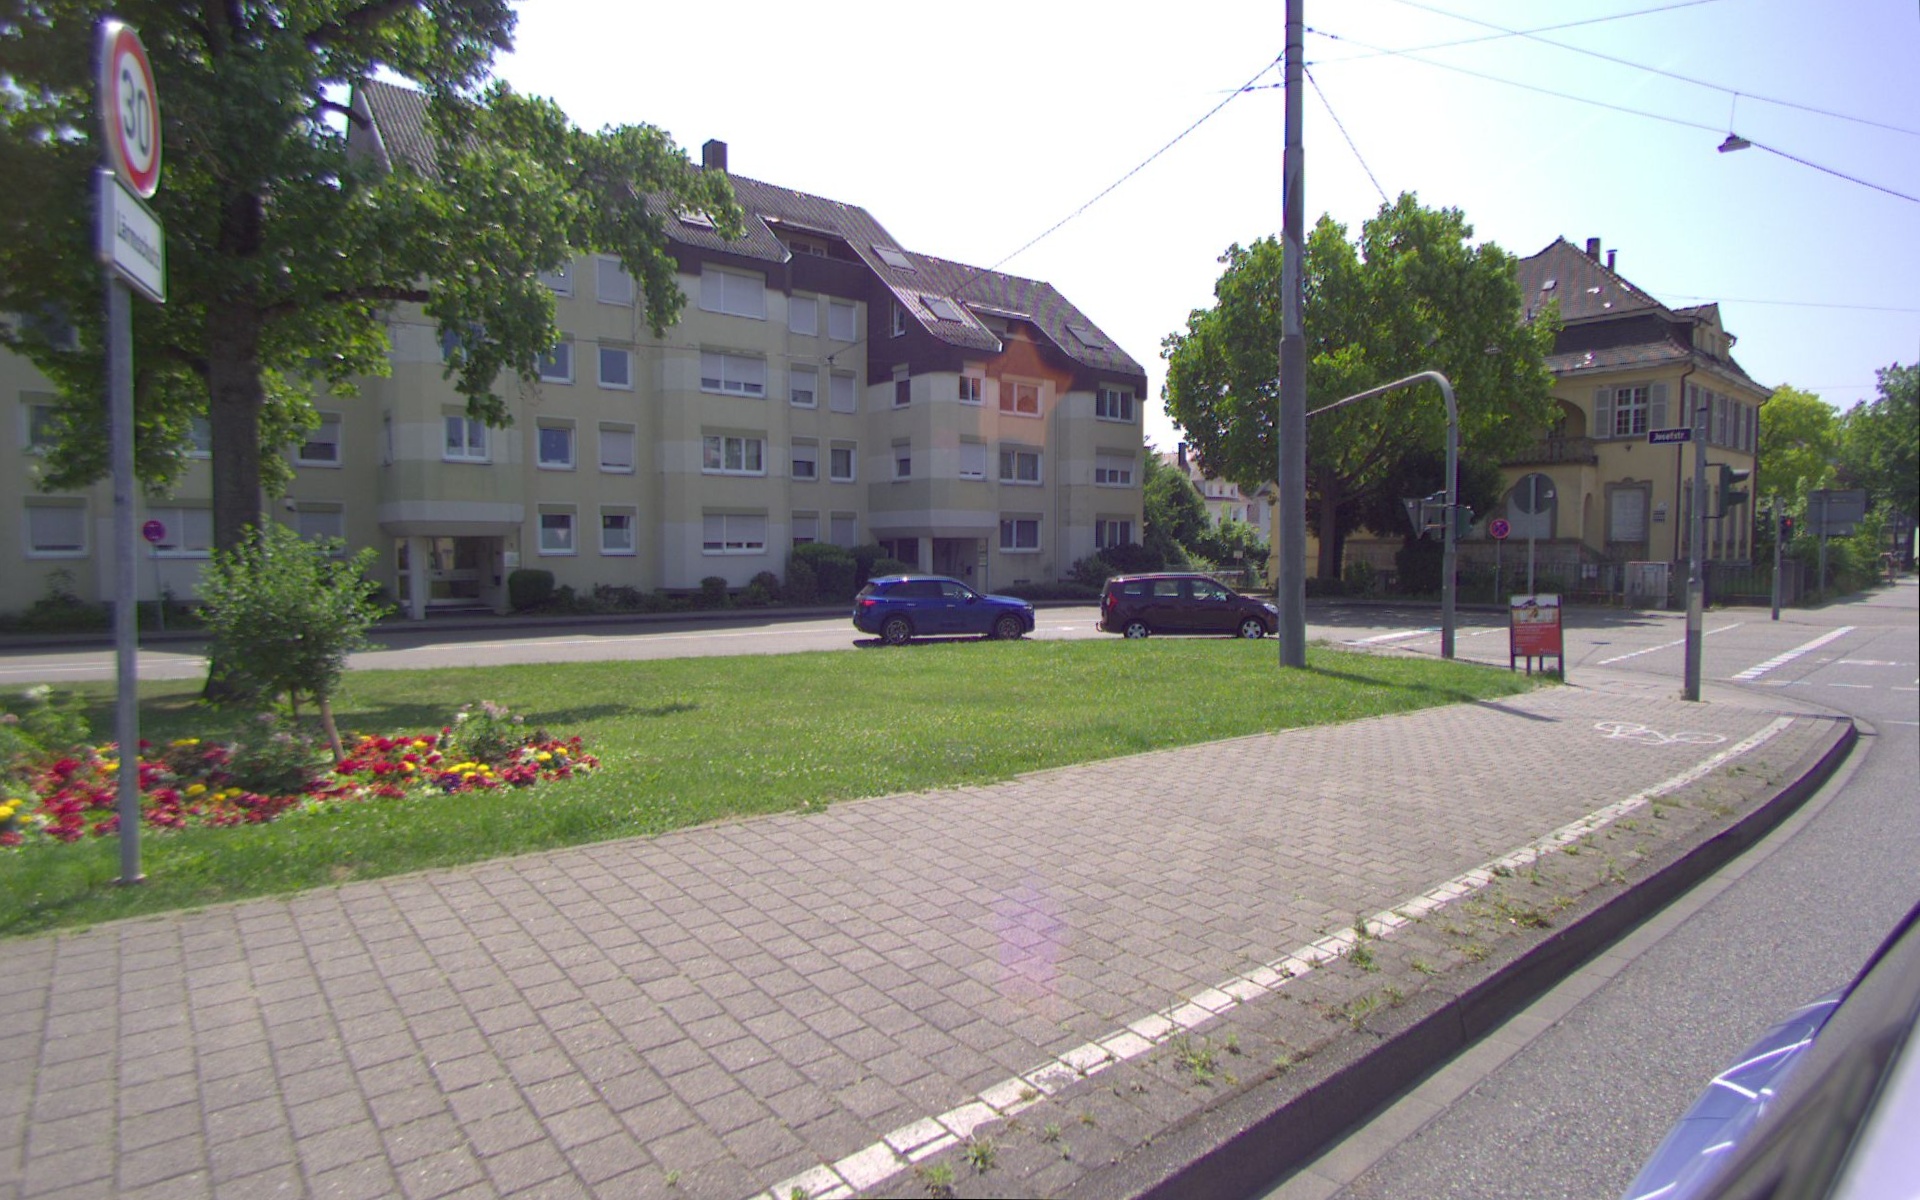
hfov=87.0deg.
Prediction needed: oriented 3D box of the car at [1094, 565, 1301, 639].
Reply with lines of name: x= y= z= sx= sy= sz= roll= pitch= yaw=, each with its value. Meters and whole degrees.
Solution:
car: x=5.758 y=0.020 z=25.053 sx=4.735 sy=1.651 sz=1.916 roll=-1 pitch=3 yaw=7

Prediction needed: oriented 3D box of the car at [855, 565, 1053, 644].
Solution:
car: x=-0.190 y=0.062 z=25.552 sx=4.669 sy=1.721 sz=2.005 roll=-2 pitch=4 yaw=-12

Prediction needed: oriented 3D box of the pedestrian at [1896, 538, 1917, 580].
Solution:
pedestrian: x=45.175 y=-1.968 z=48.325 sx=0.732 sy=1.941 sz=0.620 roll=-3 pitch=4 yaw=-43
